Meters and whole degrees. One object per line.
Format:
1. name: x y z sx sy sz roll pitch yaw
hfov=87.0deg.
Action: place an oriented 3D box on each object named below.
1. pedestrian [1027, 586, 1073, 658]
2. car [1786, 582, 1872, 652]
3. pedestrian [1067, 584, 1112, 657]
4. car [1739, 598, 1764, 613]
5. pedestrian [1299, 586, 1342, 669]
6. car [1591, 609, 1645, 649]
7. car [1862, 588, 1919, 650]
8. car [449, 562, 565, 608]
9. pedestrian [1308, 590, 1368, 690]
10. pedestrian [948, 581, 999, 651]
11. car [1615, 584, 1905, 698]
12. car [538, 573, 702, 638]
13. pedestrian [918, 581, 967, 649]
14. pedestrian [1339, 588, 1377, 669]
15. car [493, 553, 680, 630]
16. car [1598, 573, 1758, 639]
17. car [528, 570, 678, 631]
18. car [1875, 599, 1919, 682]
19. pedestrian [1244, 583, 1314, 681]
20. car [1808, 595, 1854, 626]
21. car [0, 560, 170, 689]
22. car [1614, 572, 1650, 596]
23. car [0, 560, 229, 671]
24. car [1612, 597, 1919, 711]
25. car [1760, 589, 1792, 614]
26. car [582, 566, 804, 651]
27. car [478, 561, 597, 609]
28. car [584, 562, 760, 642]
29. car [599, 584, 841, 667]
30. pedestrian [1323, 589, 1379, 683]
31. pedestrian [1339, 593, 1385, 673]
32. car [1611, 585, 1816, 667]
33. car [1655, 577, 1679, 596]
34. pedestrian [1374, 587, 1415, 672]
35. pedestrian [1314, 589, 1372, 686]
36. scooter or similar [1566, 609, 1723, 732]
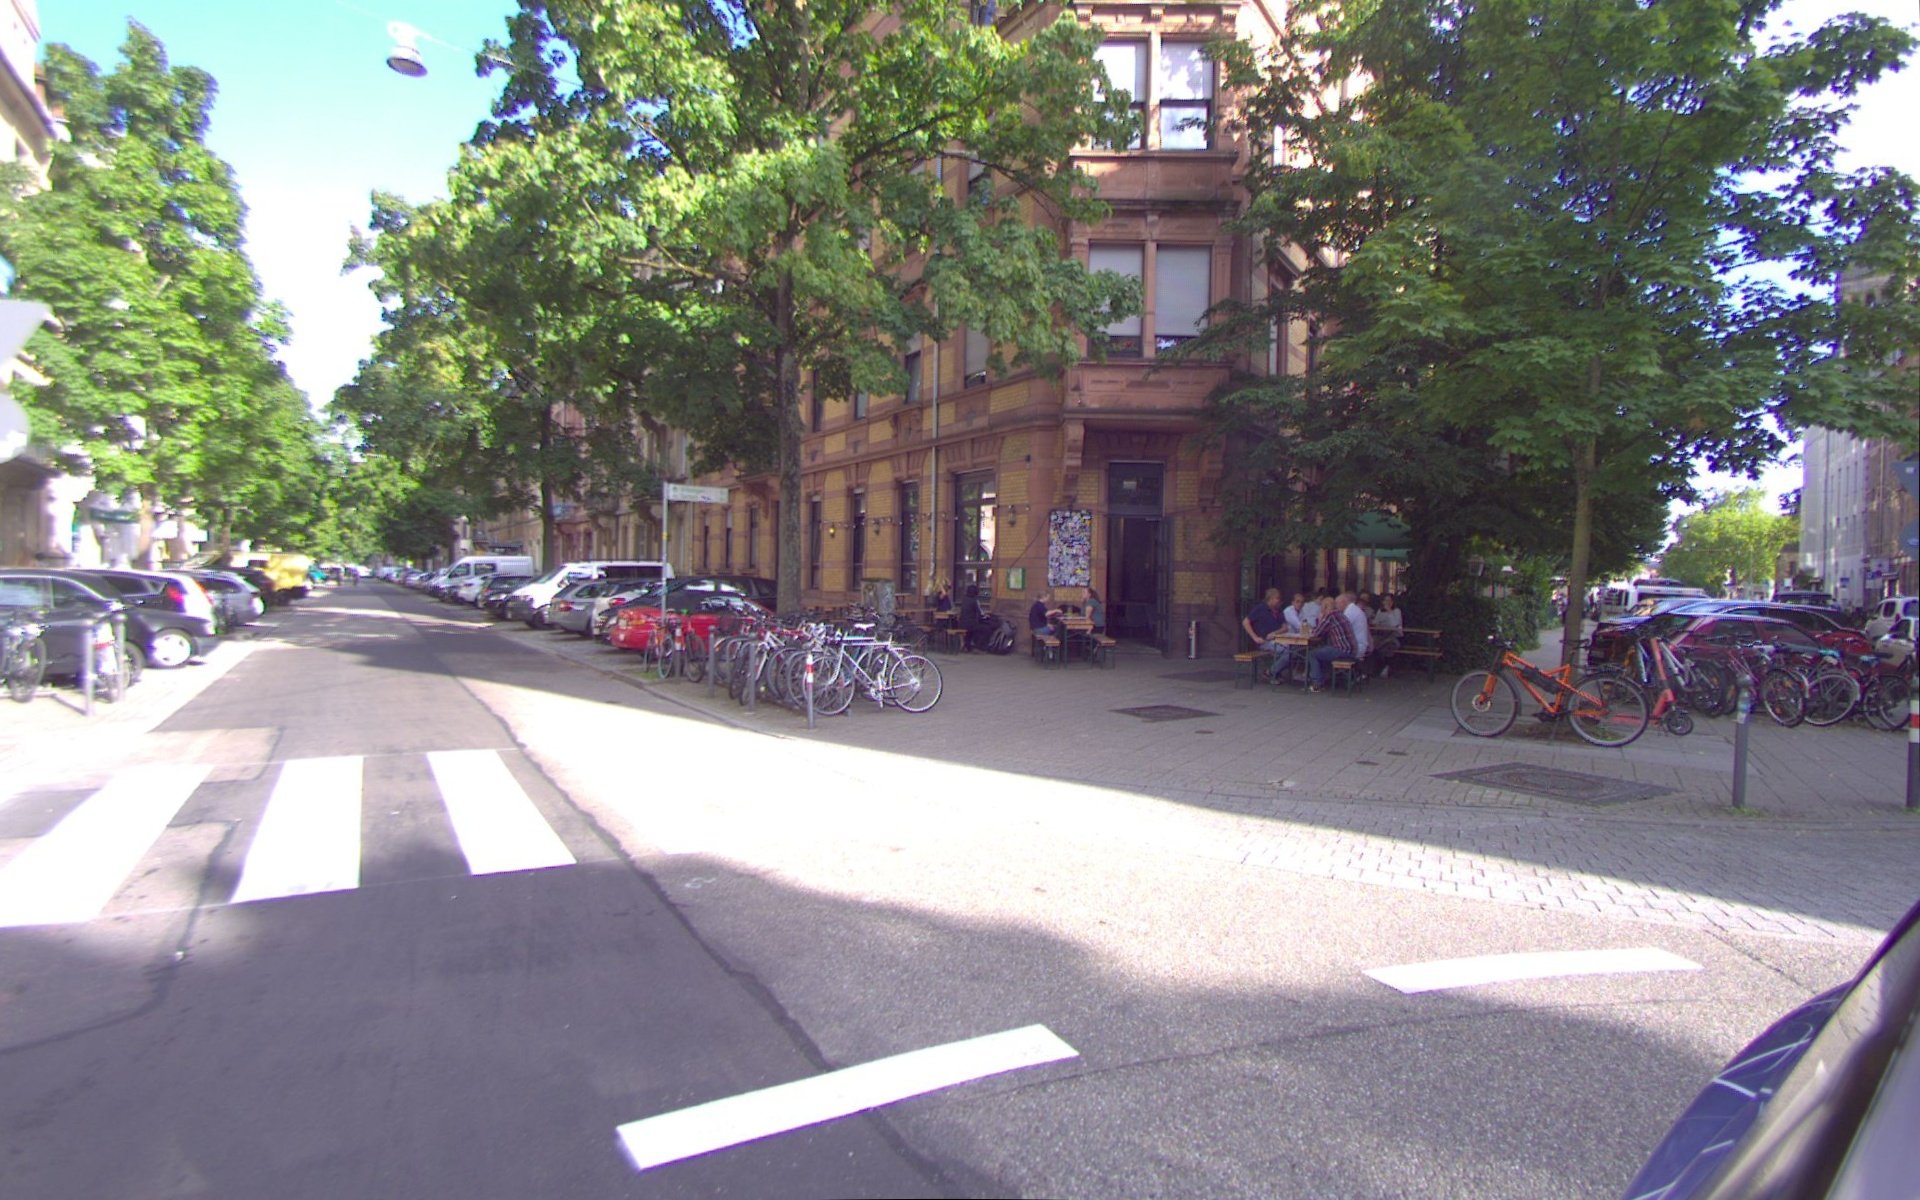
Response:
1. pedestrian: 1.609 0.388 18.141 0.628 1.239 0.513 -1 3 -24
2. car: 28.268 0.497 33.026 1.784 2.089 3.947 2 1 36
3. pedestrian: 2.349 0.365 18.377 0.628 1.274 0.513 -1 3 -24
4. car: 78.139 0.489 99.919 1.615 1.396 3.715 2 1 34
5. pedestrian: 5.943 0.447 16.709 0.540 1.317 0.620 1 2 10
6. car: 32.122 1.378 49.367 1.728 1.825 3.941 0 0 40
7. car: 30.939 0.588 32.677 1.930 1.903 4.780 0 0 32
8. car: -19.999 -0.705 44.774 4.375 1.856 1.937 -3 3 -34
9. pedestrian: 5.266 0.541 14.107 0.721 1.331 0.517 2 0 22
10. pedestrian: 0.264 0.288 19.539 0.754 1.301 0.630 -2 2 -33
11. car: 13.733 0.647 17.569 3.532 1.635 1.509 4 2 11
12. car: -8.486 0.108 25.313 3.634 1.476 1.672 -2 1 -29
13. pedestrian: -0.358 0.284 20.242 0.754 1.301 0.630 -2 2 -33
14. pedestrian: 6.787 0.474 17.271 0.459 1.343 0.620 1 2 10
15. car: -11.016 -0.325 29.986 4.819 2.013 2.048 -3 3 -34
16. car: 27.600 0.224 39.027 4.651 2.453 1.999 0 0 2
17. car: -9.843 -0.021 27.951 3.634 1.475 1.672 -3 3 -29
18. car: 20.393 0.793 20.528 1.930 1.617 4.780 0 0 32
19. pedestrian: 4.690 0.454 14.906 0.655 1.396 0.719 0 1 -21
20. car: 52.895 0.604 61.516 1.674 1.808 3.970 2 1 34
21. car: -12.023 0.233 11.850 1.797 1.473 3.954 3 0 32
22. car: 50.838 -1.182 76.609 1.834 1.756 3.960 0 0 28
23. car: -13.403 0.192 14.321 1.935 1.473 4.627 1 0 24
24. car: 12.312 0.778 15.464 3.529 1.397 1.510 4 2 9
25. car: 66.454 0.105 82.465 1.716 1.957 3.962 2 1 34
26. car: -5.653 0.121 21.433 4.224 1.589 2.011 -2 2 -25
27. car: -18.055 -0.693 43.276 4.375 1.856 1.937 -3 3 -34
28. car: -6.736 0.043 23.688 3.633 1.743 1.863 0 0 -29
29. car: -4.364 0.406 18.613 4.033 1.286 1.568 -2 1 -33
30. pedestrian: 5.842 0.521 15.124 0.721 1.331 0.603 2 0 22
31. pedestrian: 6.503 0.525 16.401 0.540 1.247 0.620 1 2 10
32. car: 17.900 0.577 24.193 3.532 1.632 1.509 4 2 11
33. car: 72.584 -1.407 103.933 1.988 1.912 3.948 0 0 36
34. pedestrian: 7.140 0.477 16.648 0.459 1.343 0.620 1 2 10
35. pedestrian: 5.498 0.521 14.543 0.721 1.331 0.517 2 0 22
36. scooter or similar: 7.553 0.752 11.211 0.545 1.226 1.294 3 0 -32
